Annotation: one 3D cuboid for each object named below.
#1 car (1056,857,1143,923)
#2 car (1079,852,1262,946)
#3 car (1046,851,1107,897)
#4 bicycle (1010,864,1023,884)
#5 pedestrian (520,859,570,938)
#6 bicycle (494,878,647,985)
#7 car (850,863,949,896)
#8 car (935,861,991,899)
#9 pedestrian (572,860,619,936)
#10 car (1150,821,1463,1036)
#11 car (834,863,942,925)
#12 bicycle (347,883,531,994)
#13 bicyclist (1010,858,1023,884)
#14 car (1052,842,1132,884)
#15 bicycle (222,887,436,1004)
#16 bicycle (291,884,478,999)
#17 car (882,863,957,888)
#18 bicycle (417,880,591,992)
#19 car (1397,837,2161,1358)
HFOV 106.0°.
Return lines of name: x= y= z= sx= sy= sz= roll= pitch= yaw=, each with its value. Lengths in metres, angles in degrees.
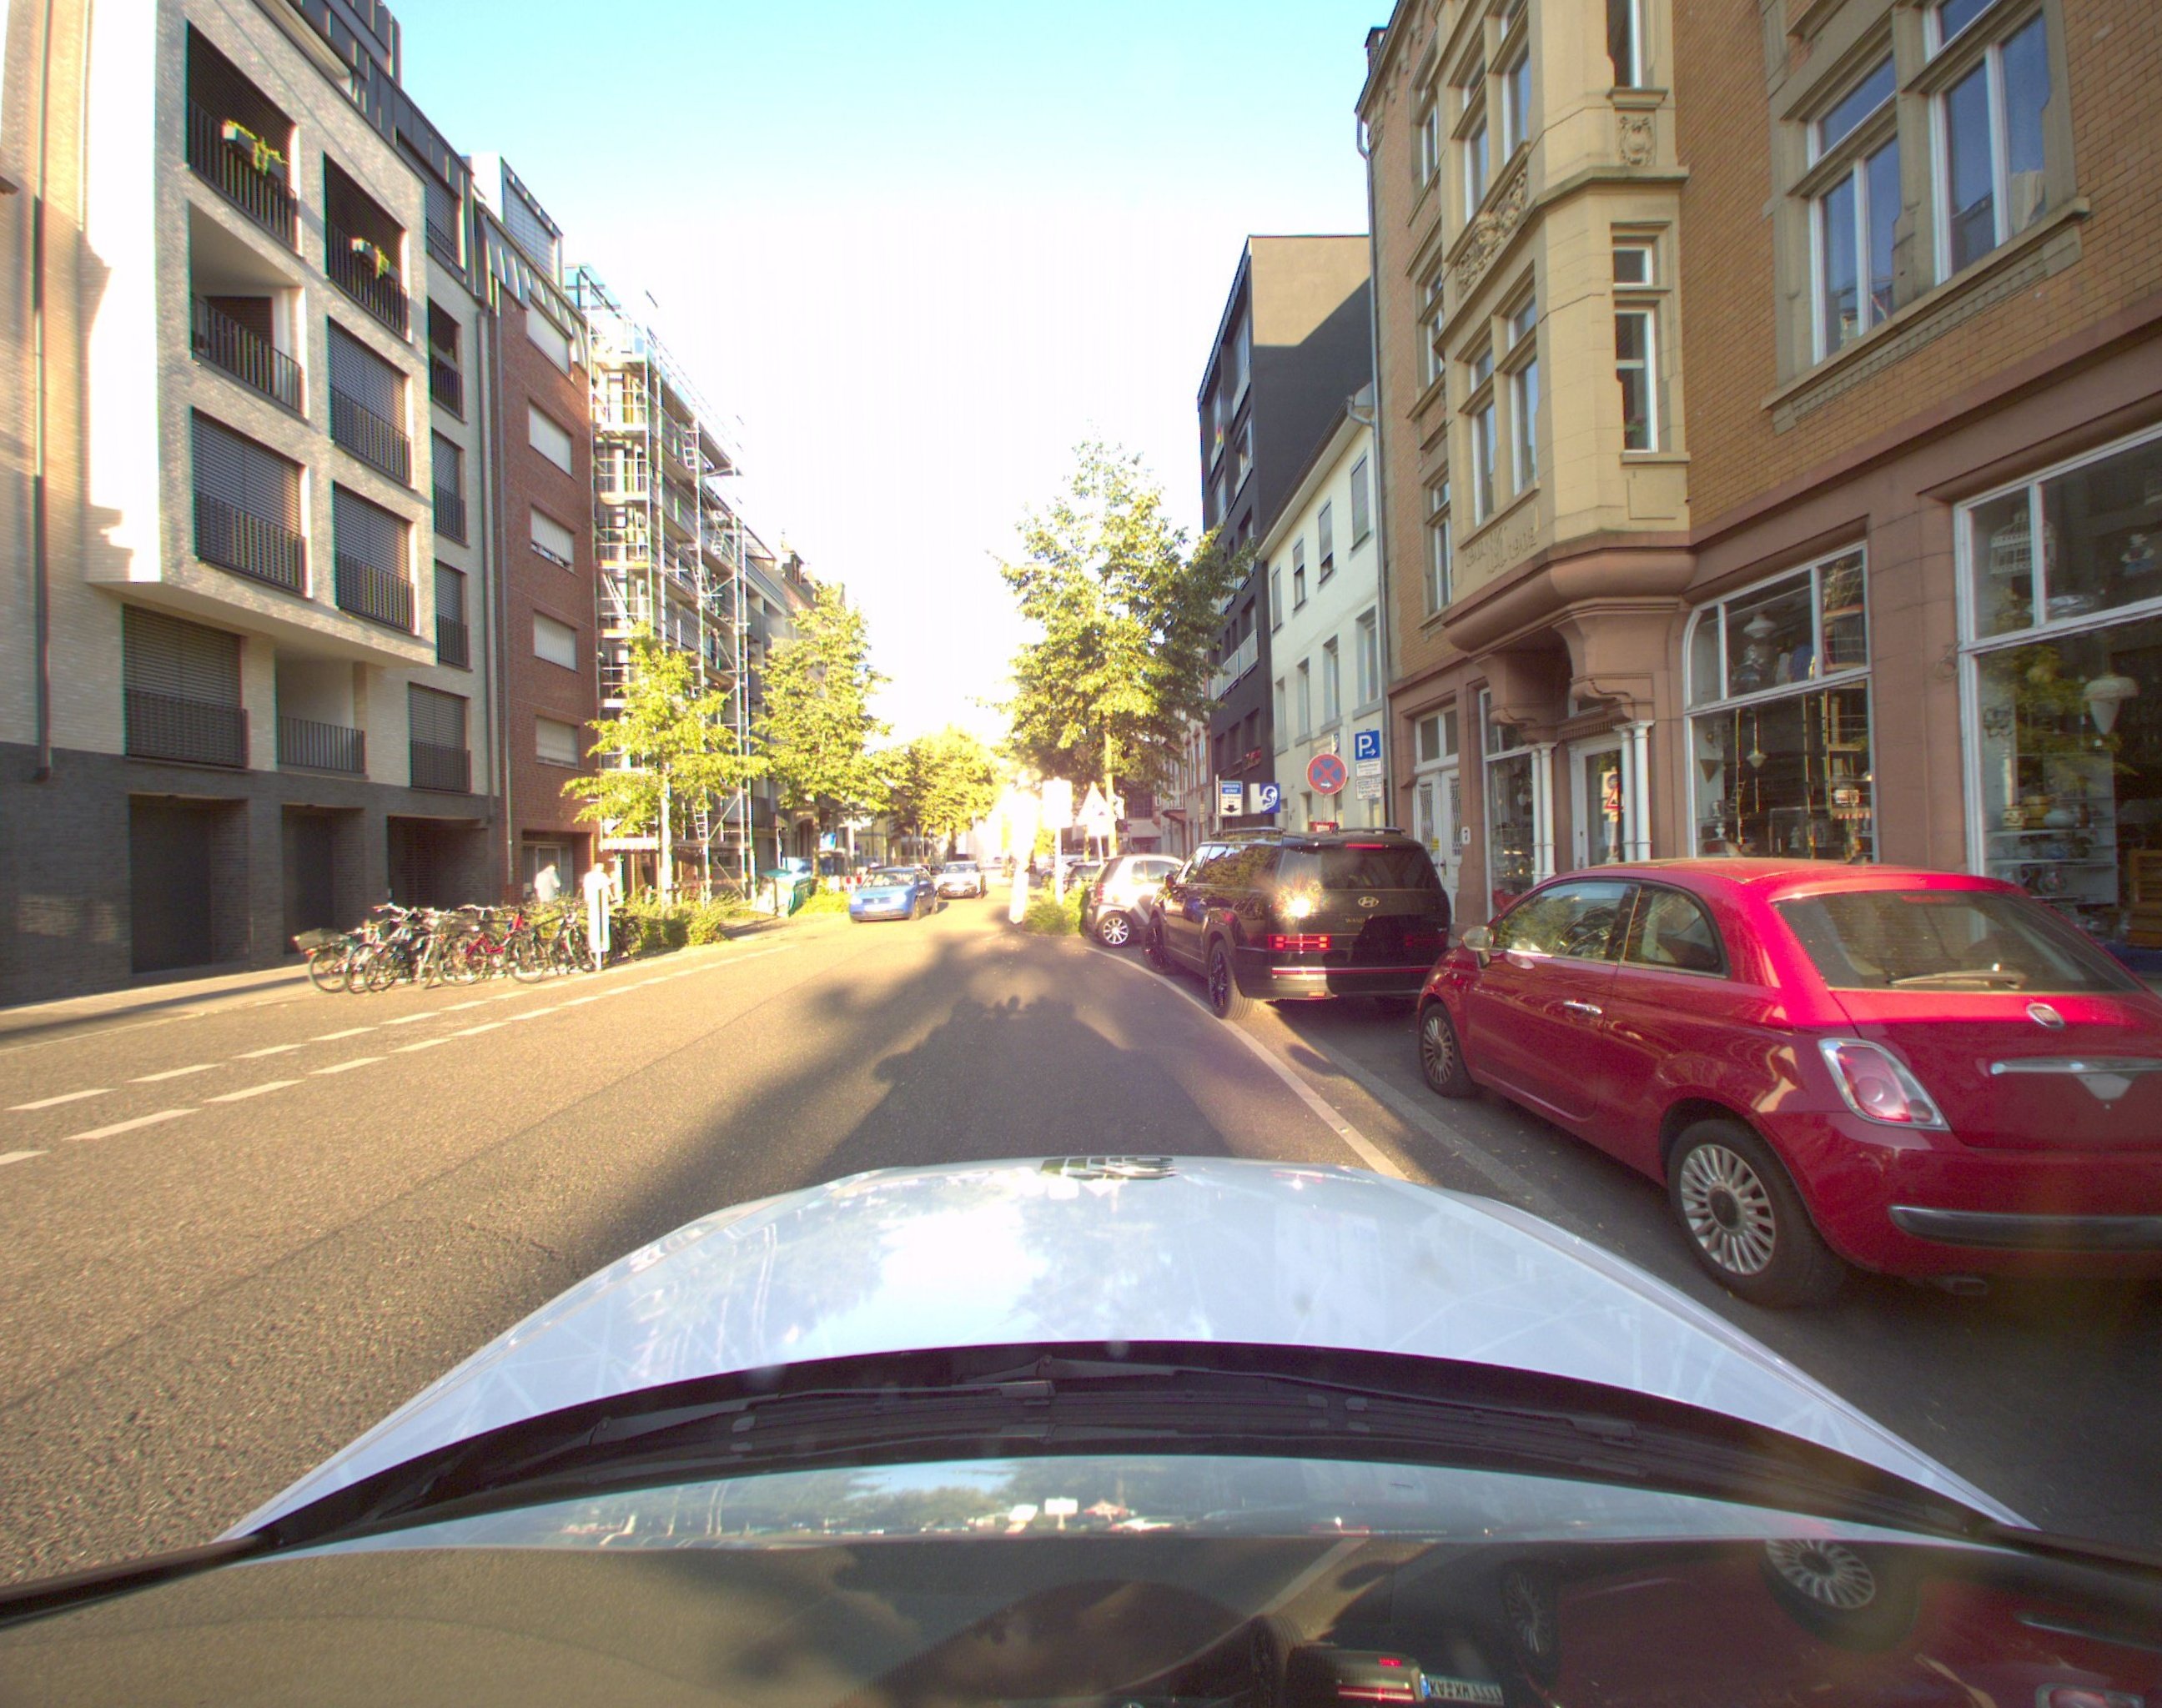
car: x=0.405 y=0.935 z=23.030 sx=1.990 sy=1.668 sz=4.501 roll=0 pitch=-1 yaw=-5
car: x=1.513 y=0.753 z=14.335 sx=2.965 sy=1.536 sz=1.430 roll=0 pitch=-1 yaw=-6
car: x=-0.284 y=0.877 z=36.272 sx=2.261 sy=1.766 sz=4.501 roll=4 pitch=-1 yaw=-5
bicycle: x=-4.226 y=1.292 z=53.432 sx=0.779 sy=1.204 sz=2.017 roll=-2 pitch=-1 yaw=-4
pedestrian: x=-12.170 y=0.994 z=18.520 sx=0.717 sy=1.767 sz=0.692 roll=0 pitch=-1 yaw=-10
bicycle: x=-7.746 y=1.091 z=12.595 sx=0.844 sy=1.351 sz=3.175 roll=-2 pitch=0 yaw=-10
car: x=-8.249 y=1.145 z=37.232 sx=4.090 sy=1.466 sz=1.889 roll=0 pitch=-1 yaw=-1
car: x=-4.977 y=1.066 z=34.796 sx=1.880 sy=1.480 sz=4.455 roll=0 pitch=-1 yaw=-2
pedestrian: x=-11.424 y=1.009 z=19.172 sx=0.717 sy=1.740 sz=0.736 roll=0 pitch=-1 yaw=-10
car: x=2.015 y=0.609 z=8.720 sx=1.822 sy=1.695 sz=4.361 roll=0 pitch=-1 yaw=-5
car: x=-5.073 y=0.999 z=21.965 sx=1.832 sy=1.441 sz=4.330 roll=-2 pitch=-1 yaw=0
bicycle: x=-9.469 y=1.161 z=12.243 sx=0.781 sy=1.373 sz=3.131 roll=0 pitch=-1 yaw=-10
bicyclist: x=-4.239 y=1.108 z=53.381 sx=0.779 sy=1.696 sz=1.005 roll=-2 pitch=-1 yaw=-4
car: x=0.598 y=0.471 z=42.164 sx=3.972 sy=2.013 sz=2.001 roll=-2 pitch=0 yaw=2
bicycle: x=-10.820 y=1.225 z=11.954 sx=0.721 sy=1.395 sz=3.142 roll=0 pitch=-1 yaw=-10
bicycle: x=-10.156 y=1.180 z=12.092 sx=0.585 sy=1.395 sz=3.149 roll=0 pitch=-1 yaw=-10
car: x=-9.634 y=1.287 z=48.849 sx=4.090 sy=1.466 sz=1.889 roll=0 pitch=-1 yaw=-1
bicycle: x=-8.628 y=1.140 z=12.419 sx=0.893 sy=1.395 sz=3.155 roll=-1 pitch=-1 yaw=-10
car: x=2.975 y=0.712 z=3.990 sx=1.582 sy=1.483 sz=3.265 roll=0 pitch=-1 yaw=0
